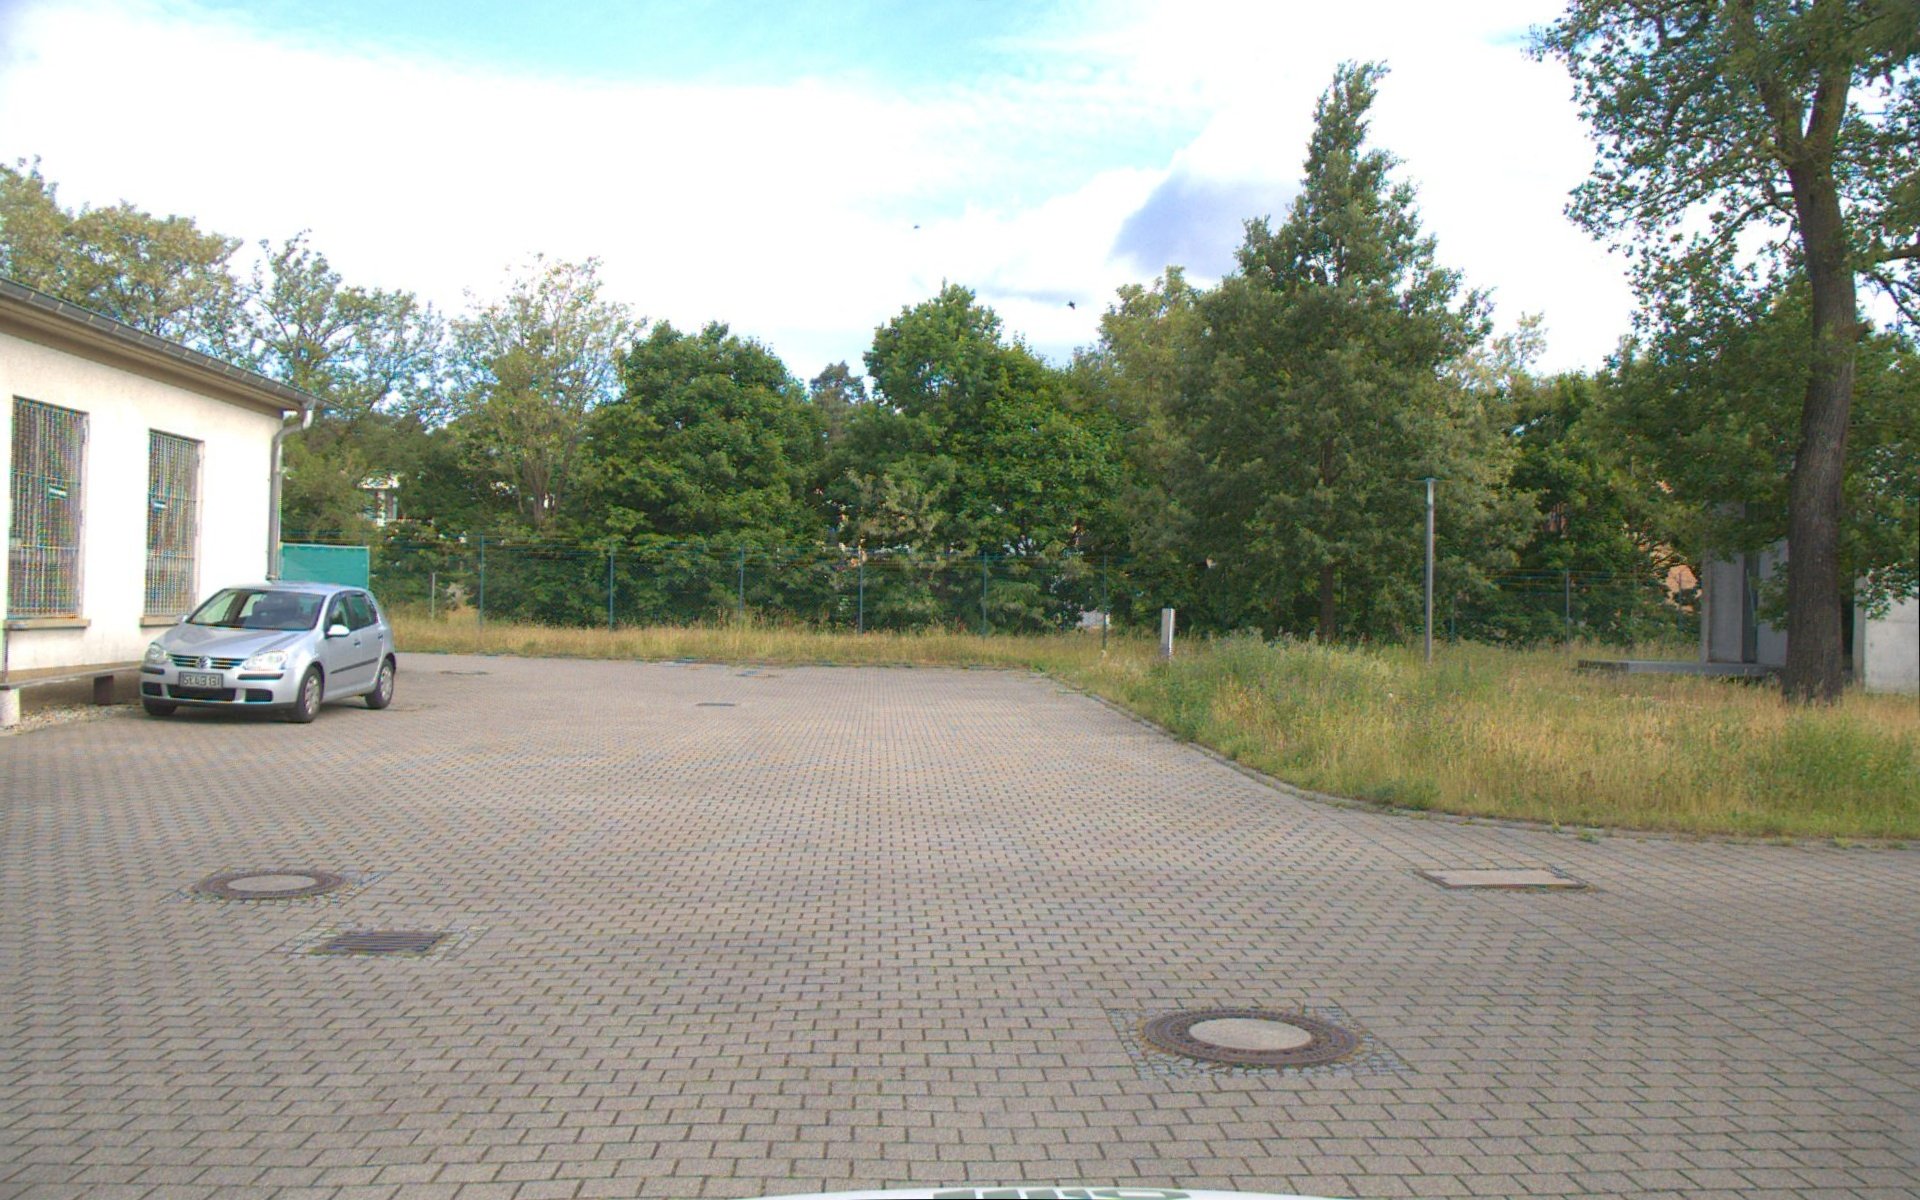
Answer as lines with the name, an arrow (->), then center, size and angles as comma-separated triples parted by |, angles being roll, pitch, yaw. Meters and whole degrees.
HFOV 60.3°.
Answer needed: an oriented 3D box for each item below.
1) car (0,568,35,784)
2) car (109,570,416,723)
car -> -7.393, 0.518, 9.338 | 1.887, 1.486, 4.807 | 1, 0, -4
car -> -7.859, 0.467, 19.143 | 1.887, 1.464, 4.364 | 3, 0, -4
